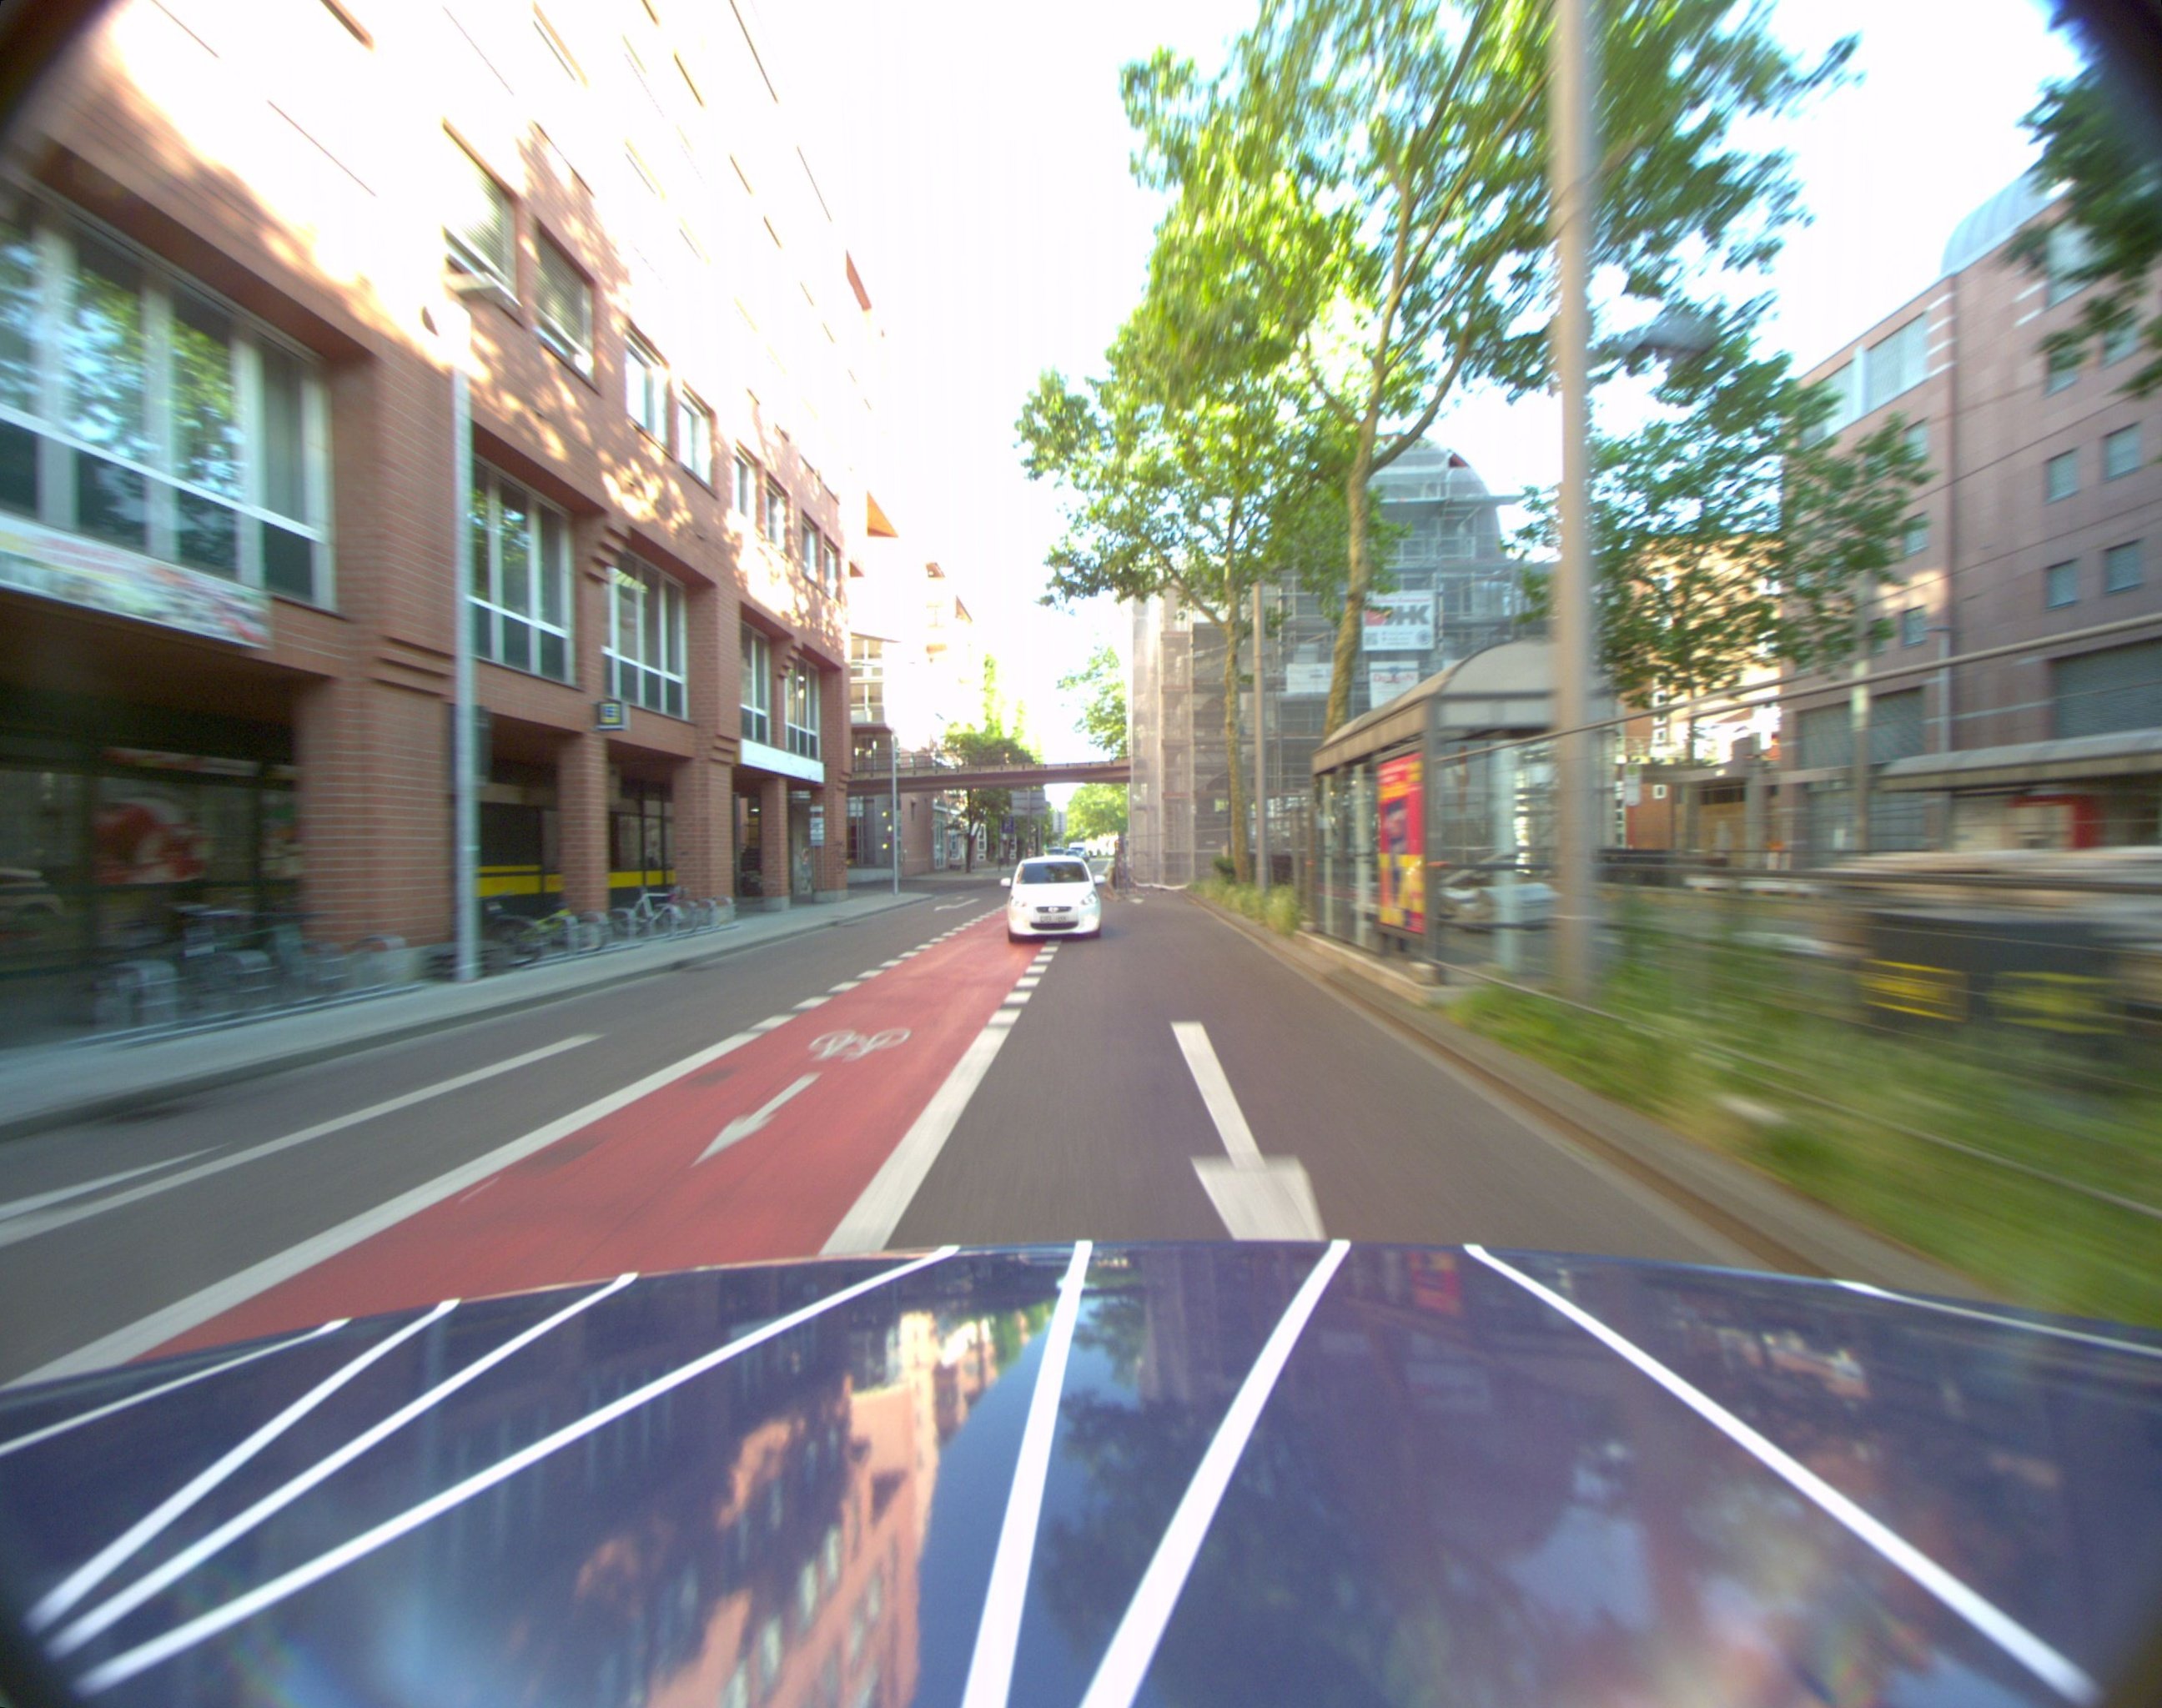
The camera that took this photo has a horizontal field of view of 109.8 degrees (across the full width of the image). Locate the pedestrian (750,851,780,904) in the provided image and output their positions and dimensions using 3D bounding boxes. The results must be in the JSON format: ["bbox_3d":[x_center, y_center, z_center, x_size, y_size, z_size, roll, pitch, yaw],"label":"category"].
[{"bbox_3d":[-10.033,0.730,24.131,0.570,1.624,0.778,-2,1,2],"label":"pedestrian"}]

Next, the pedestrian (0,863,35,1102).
[{"bbox_3d":[-8.316,0.904,5.270,1.196,1.687,0.886,1,1,16],"label":"pedestrian"}]

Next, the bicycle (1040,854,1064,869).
[{"bbox_3d":[-1.994,0.520,52.453,1.678,1.061,0.501,-1,1,37],"label":"bicycle"}]

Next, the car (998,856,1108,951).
[{"bbox_3d":[-0.497,0.838,14.832,1.808,1.492,4.199,-1,1,-1],"label":"car"}]

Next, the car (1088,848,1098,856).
[{"bbox_3d":[2.661,-0.445,162.215,1.998,1.524,4.000,-3,1,2],"label":"car"}]

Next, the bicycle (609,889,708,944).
[{"bbox_3d":[-8.124,1.193,14.628,1.615,0.949,0.555,2,1,4],"label":"bicycle"}]

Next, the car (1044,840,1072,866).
[{"bbox_3d":[-1.884,-0.108,63.121,1.923,2.067,5.170,-1,1,2],"label":"car"}]

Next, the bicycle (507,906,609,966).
[{"bbox_3d":[-8.178,1.275,11.893,1.337,0.836,0.425,2,1,4],"label":"bicycle"}]

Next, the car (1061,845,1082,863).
[{"bbox_3d":[-0.917,0.012,74.699,1.791,1.660,4.440,-1,1,2],"label":"car"}]

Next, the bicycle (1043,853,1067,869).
[{"bbox_3d":[-1.844,0.506,53.181,1.678,1.061,0.501,-1,1,37],"label":"bicycle"}]

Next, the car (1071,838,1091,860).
[{"bbox_3d":[0.026,-0.613,91.879,2.120,2.550,5.905,-1,1,3],"label":"car"}]

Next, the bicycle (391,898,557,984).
[{"bbox_3d":[-8.329,1.174,10.449,1.936,1.051,0.573,1,1,6],"label":"bicycle"}]

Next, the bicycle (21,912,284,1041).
[{"bbox_3d":[-8.566,1.117,7.039,1.896,1.112,0.475,0,1,2],"label":"bicycle"}]

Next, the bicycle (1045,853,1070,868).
[{"bbox_3d":[-1.717,0.468,55.416,1.679,1.061,0.512,-1,1,26],"label":"bicycle"}]

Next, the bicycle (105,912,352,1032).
[{"bbox_3d":[-8.504,1.160,7.612,1.896,1.112,0.550,0,1,3],"label":"bicycle"}]
